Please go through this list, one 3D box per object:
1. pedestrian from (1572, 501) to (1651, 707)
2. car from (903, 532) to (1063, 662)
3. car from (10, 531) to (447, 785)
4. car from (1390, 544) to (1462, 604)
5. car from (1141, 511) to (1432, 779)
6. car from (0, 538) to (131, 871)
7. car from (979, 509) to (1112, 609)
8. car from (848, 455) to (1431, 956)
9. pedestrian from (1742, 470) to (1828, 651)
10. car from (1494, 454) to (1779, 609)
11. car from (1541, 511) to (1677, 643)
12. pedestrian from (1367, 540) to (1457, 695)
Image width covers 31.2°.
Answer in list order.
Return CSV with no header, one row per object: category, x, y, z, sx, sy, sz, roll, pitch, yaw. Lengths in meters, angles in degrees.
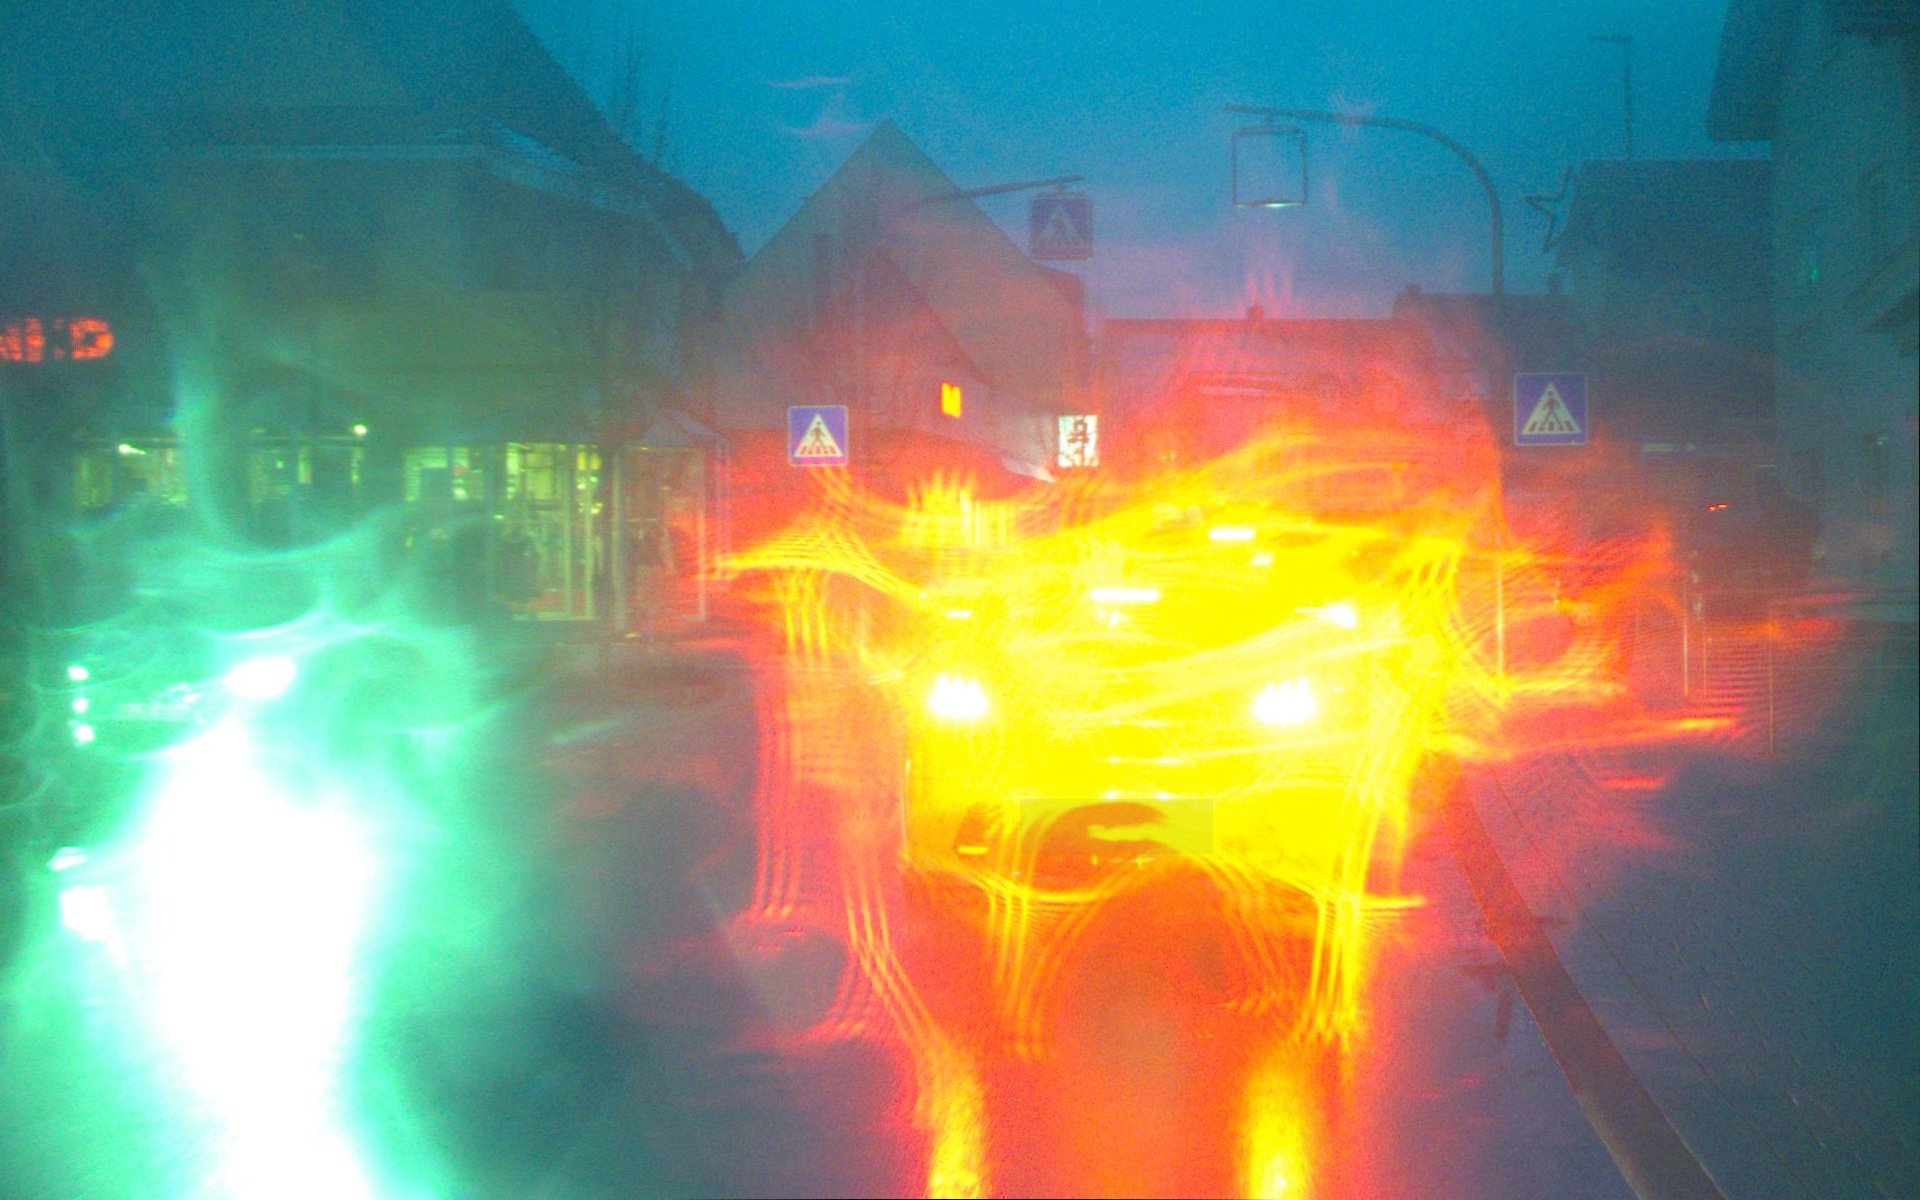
pedestrian,6.063,0.037,31.969,0.663,1.881,0.823,1,0,13
car,0.410,-0.075,55.294,1.994,2.007,4.360,0,1,8
car,-4.808,0.326,23.156,1.670,1.511,3.999,2,1,6
car,11.284,-0.649,83.375,1.534,1.241,3.646,-5,1,6
car,2.310,0.262,23.534,1.798,1.656,3.999,1,0,8
car,-5.317,0.467,15.217,1.749,1.511,4.341,2,1,7
car,1.588,-0.750,62.607,1.994,1.746,4.360,0,1,7
car,0.953,0.320,14.732,1.994,1.789,4.647,0,1,9
pedestrian,8.656,-0.422,36.090,0.703,1.870,0.617,1,2,-1
car,9.128,-0.923,46.554,3.698,2.007,1.688,1,0,10
car,10.422,-0.403,55.414,1.642,2.007,4.000,-2,1,4
pedestrian,5.215,0.188,39.668,0.974,1.736,0.961,1,2,7
